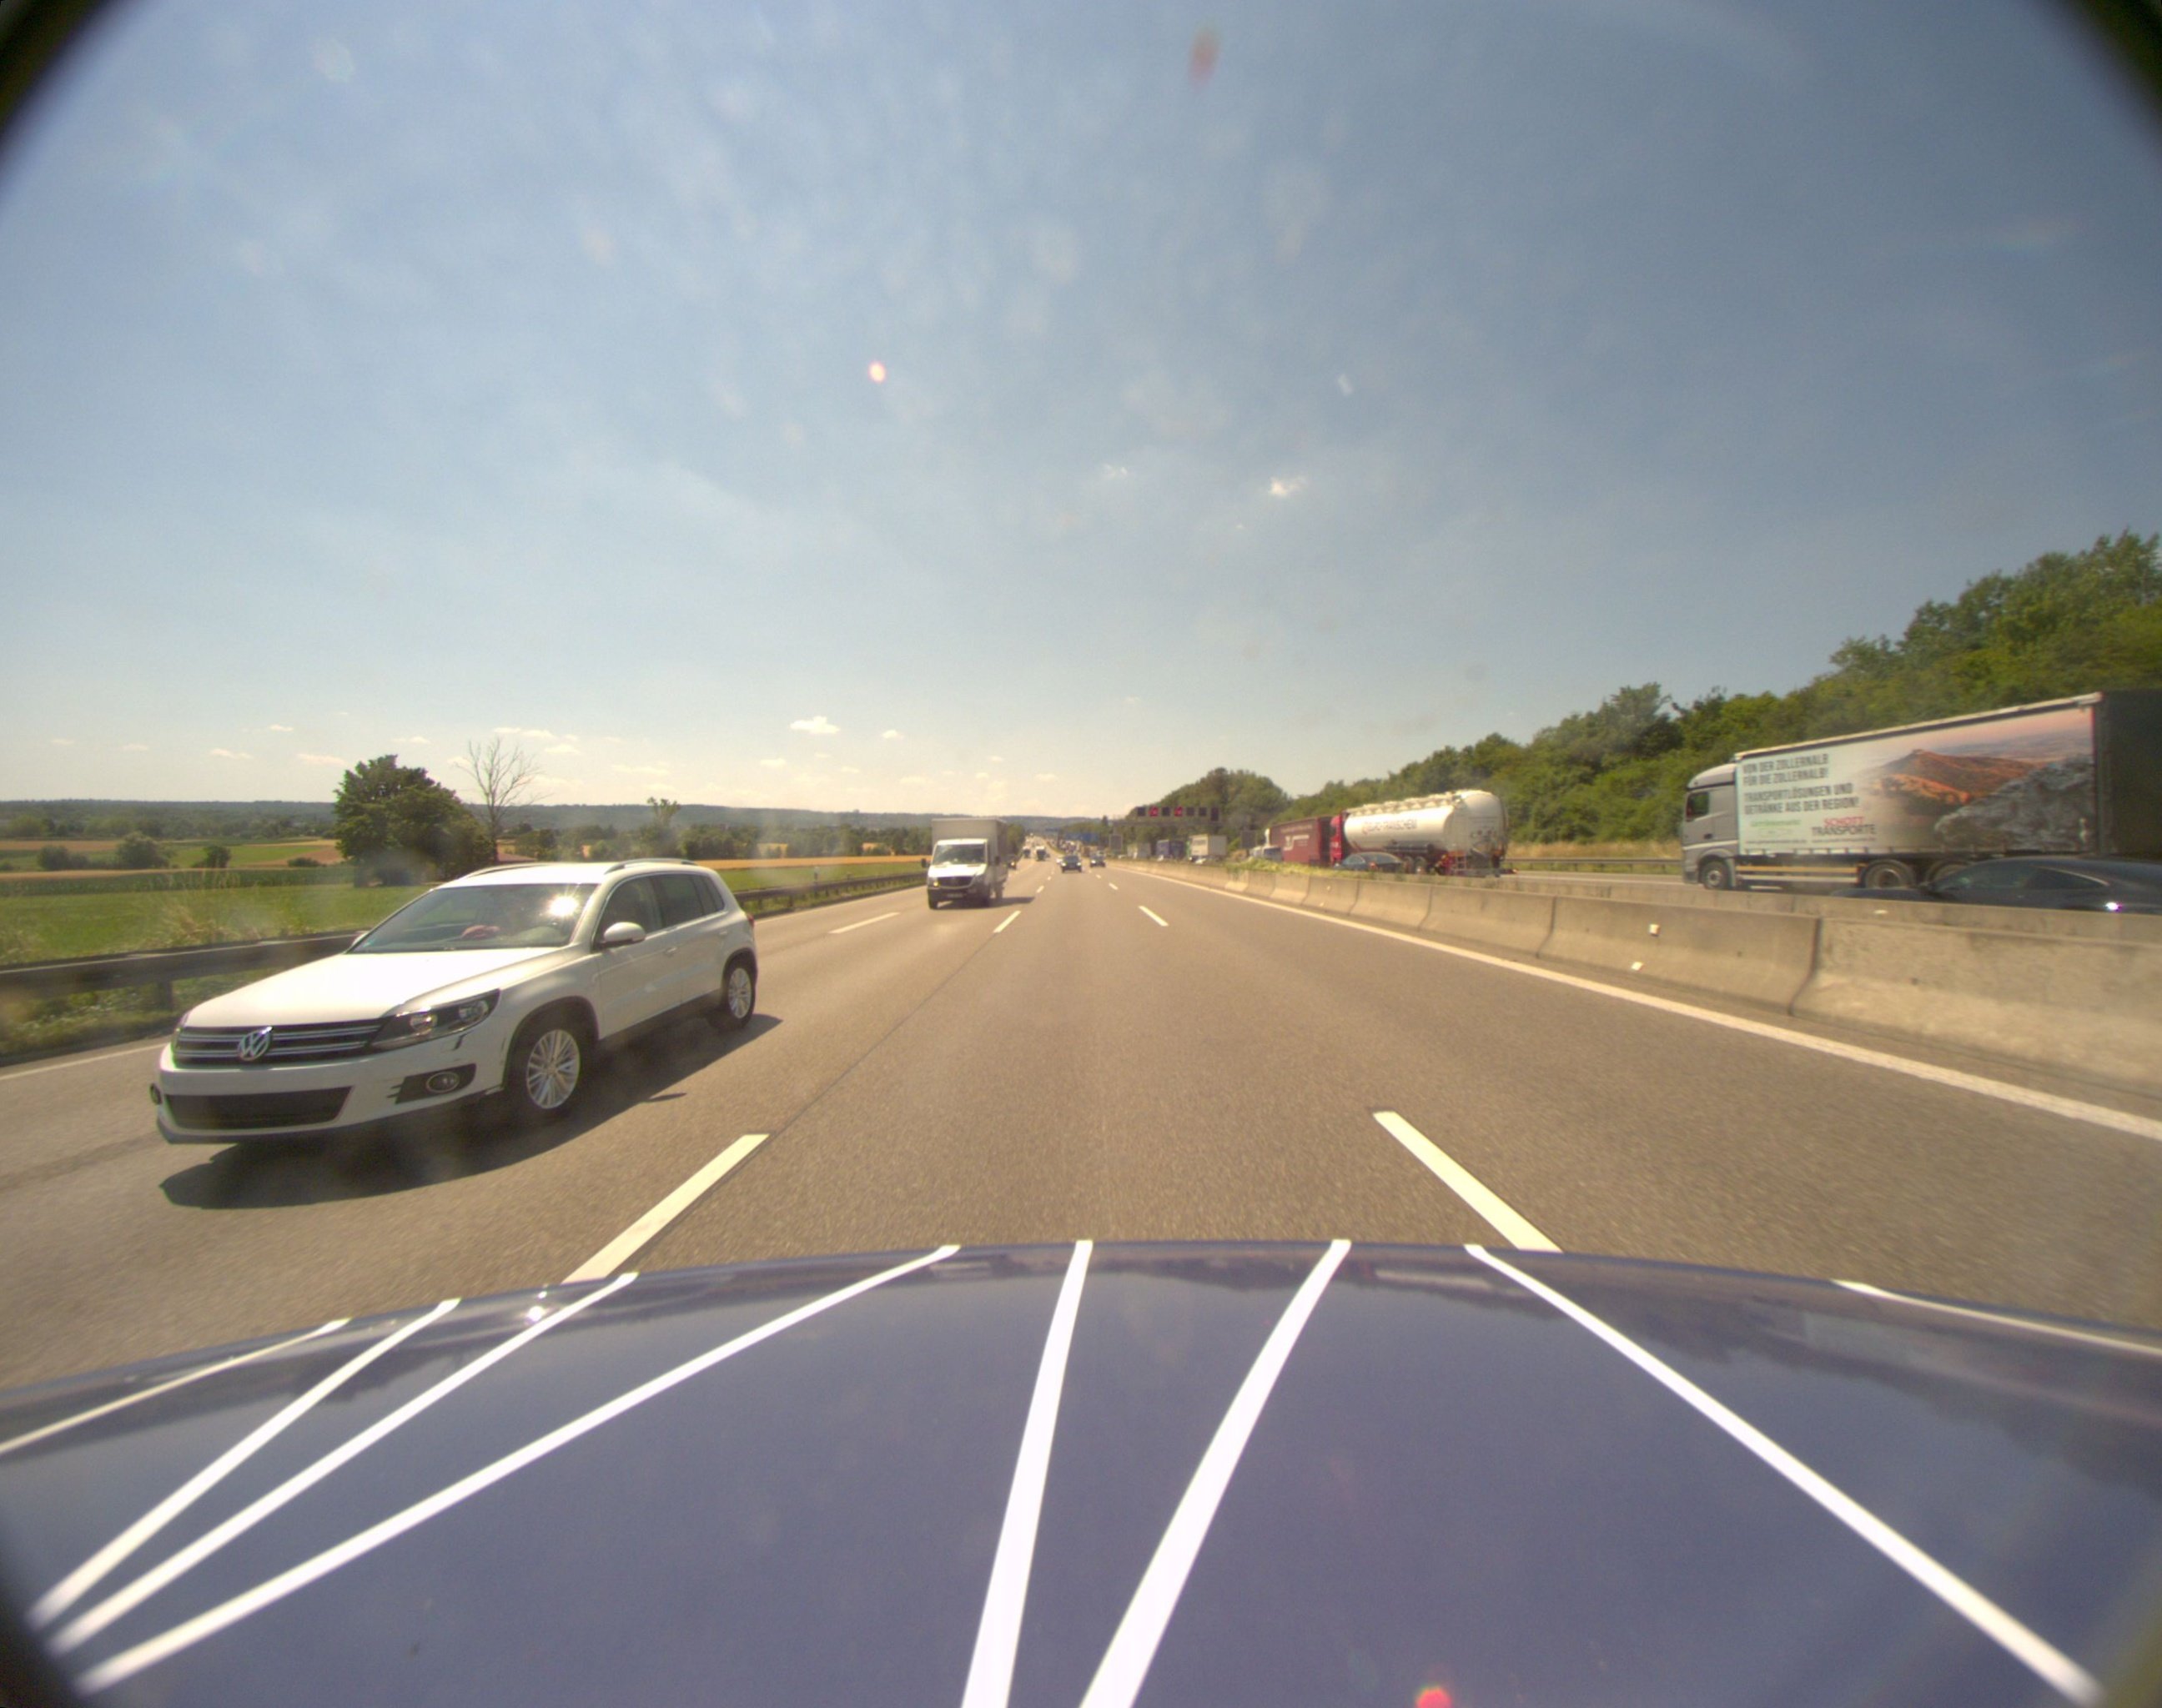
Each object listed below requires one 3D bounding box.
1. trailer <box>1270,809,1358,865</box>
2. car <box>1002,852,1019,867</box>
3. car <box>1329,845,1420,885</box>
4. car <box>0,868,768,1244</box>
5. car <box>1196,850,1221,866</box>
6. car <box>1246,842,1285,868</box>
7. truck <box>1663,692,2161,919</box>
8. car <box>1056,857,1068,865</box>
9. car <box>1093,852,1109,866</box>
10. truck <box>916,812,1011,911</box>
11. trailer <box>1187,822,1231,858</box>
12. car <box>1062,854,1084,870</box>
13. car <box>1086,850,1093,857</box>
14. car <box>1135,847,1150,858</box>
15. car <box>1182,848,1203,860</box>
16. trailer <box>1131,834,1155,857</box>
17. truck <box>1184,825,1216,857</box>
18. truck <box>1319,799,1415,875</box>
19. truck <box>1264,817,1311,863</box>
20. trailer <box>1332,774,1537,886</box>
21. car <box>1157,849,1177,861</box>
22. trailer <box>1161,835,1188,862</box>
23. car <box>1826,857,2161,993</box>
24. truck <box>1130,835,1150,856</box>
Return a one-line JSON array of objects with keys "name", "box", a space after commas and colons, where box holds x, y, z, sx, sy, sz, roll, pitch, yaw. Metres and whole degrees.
[{"name": "trailer", "box": [19.173, -1.297, 63.756, 2.946, 4.086, 14.082, -1, 0, 0]}, {"name": "car", "box": [-9.004, 0.695, 97.442, 1.911, 1.778, 3.999, -1, 0, -2]}, {"name": "car", "box": [12.117, 0.391, 31.739, 1.848, 1.461, 4.831, -2, 1, 0]}, {"name": "car", "box": [-4.173, 1.002, 5.688, 1.837, 1.635, 4.172, -2, 0, 1]}, {"name": "car", "box": [11.522, 0.355, 68.597, 1.617, 1.315, 3.424, -1, 0, -1]}, {"name": "car", "box": [15.004, 0.045, 61.899, 1.961, 2.018, 4.544, -1, 0, -1]}, {"name": "truck", "box": [19.389, -0.875, 18.216, 3.016, 3.894, 10.355, -1, 0, 1]}, {"name": "car", "box": [-3.443, 1.278, 141.153, 1.998, 1.467, 3.999, -2, 1, 1]}, {"name": "car", "box": [2.507, 0.649, 95.085, 1.808, 1.533, 4.751, -1, -2, 0]}, {"name": "truck", "box": [-3.982, 0.234, 27.223, 2.445, 3.010, 6.915, -2, 0, -2]}, {"name": "trailer", "box": [17.577, -1.842, 105.295, 3.363, 4.548, 13.645, -2, 1, -1]}, {"name": "car", "box": [-0.750, 0.713, 71.039, 1.866, 1.426, 3.999, -1, 0, -2]}, {"name": "car", "box": [2.827, -0.229, 248.525, 1.999, 2.002, 3.998, -2, 1, -4]}, {"name": "car", "box": [9.619, -0.240, 119.313, 1.911, 1.662, 3.999, -1, 0, -2]}, {"name": "car", "box": [13.875, 0.022, 94.745, 1.766, 1.419, 3.998, -1, 0, -4]}, {"name": "trailer", "box": [12.028, -1.700, 147.647, 3.132, 4.143, 10.196, -2, 1, -3]}, {"name": "truck", "box": [17.369, -1.893, 111.558, 3.398, 4.419, 6.601, -2, 1, -1]}, {"name": "truck", "box": [15.731, -0.910, 42.314, 2.891, 3.859, 6.085, -2, 1, 0]}, {"name": "truck", "box": [19.144, -1.280, 70.743, 2.976, 3.986, 5.132, -1, 1, 0]}, {"name": "trailer", "box": [15.726, -0.976, 35.873, 2.945, 4.141, 14.169, -2, 1, 0]}, {"name": "car", "box": [10.605, 0.149, 94.430, 1.766, 1.419, 3.998, -1, 0, -4]}, {"name": "trailer", "box": [16.866, -1.016, 138.091, 3.021, 4.698, 11.023, -2, 1, -2]}, {"name": "car", "box": [11.648, 0.717, 8.856, 1.795, 1.268, 4.221, -1, 0, 0]}, {"name": "truck", "box": [11.810, -1.721, 152.784, 3.132, 4.143, 6.233, -2, 1, -3]}]
